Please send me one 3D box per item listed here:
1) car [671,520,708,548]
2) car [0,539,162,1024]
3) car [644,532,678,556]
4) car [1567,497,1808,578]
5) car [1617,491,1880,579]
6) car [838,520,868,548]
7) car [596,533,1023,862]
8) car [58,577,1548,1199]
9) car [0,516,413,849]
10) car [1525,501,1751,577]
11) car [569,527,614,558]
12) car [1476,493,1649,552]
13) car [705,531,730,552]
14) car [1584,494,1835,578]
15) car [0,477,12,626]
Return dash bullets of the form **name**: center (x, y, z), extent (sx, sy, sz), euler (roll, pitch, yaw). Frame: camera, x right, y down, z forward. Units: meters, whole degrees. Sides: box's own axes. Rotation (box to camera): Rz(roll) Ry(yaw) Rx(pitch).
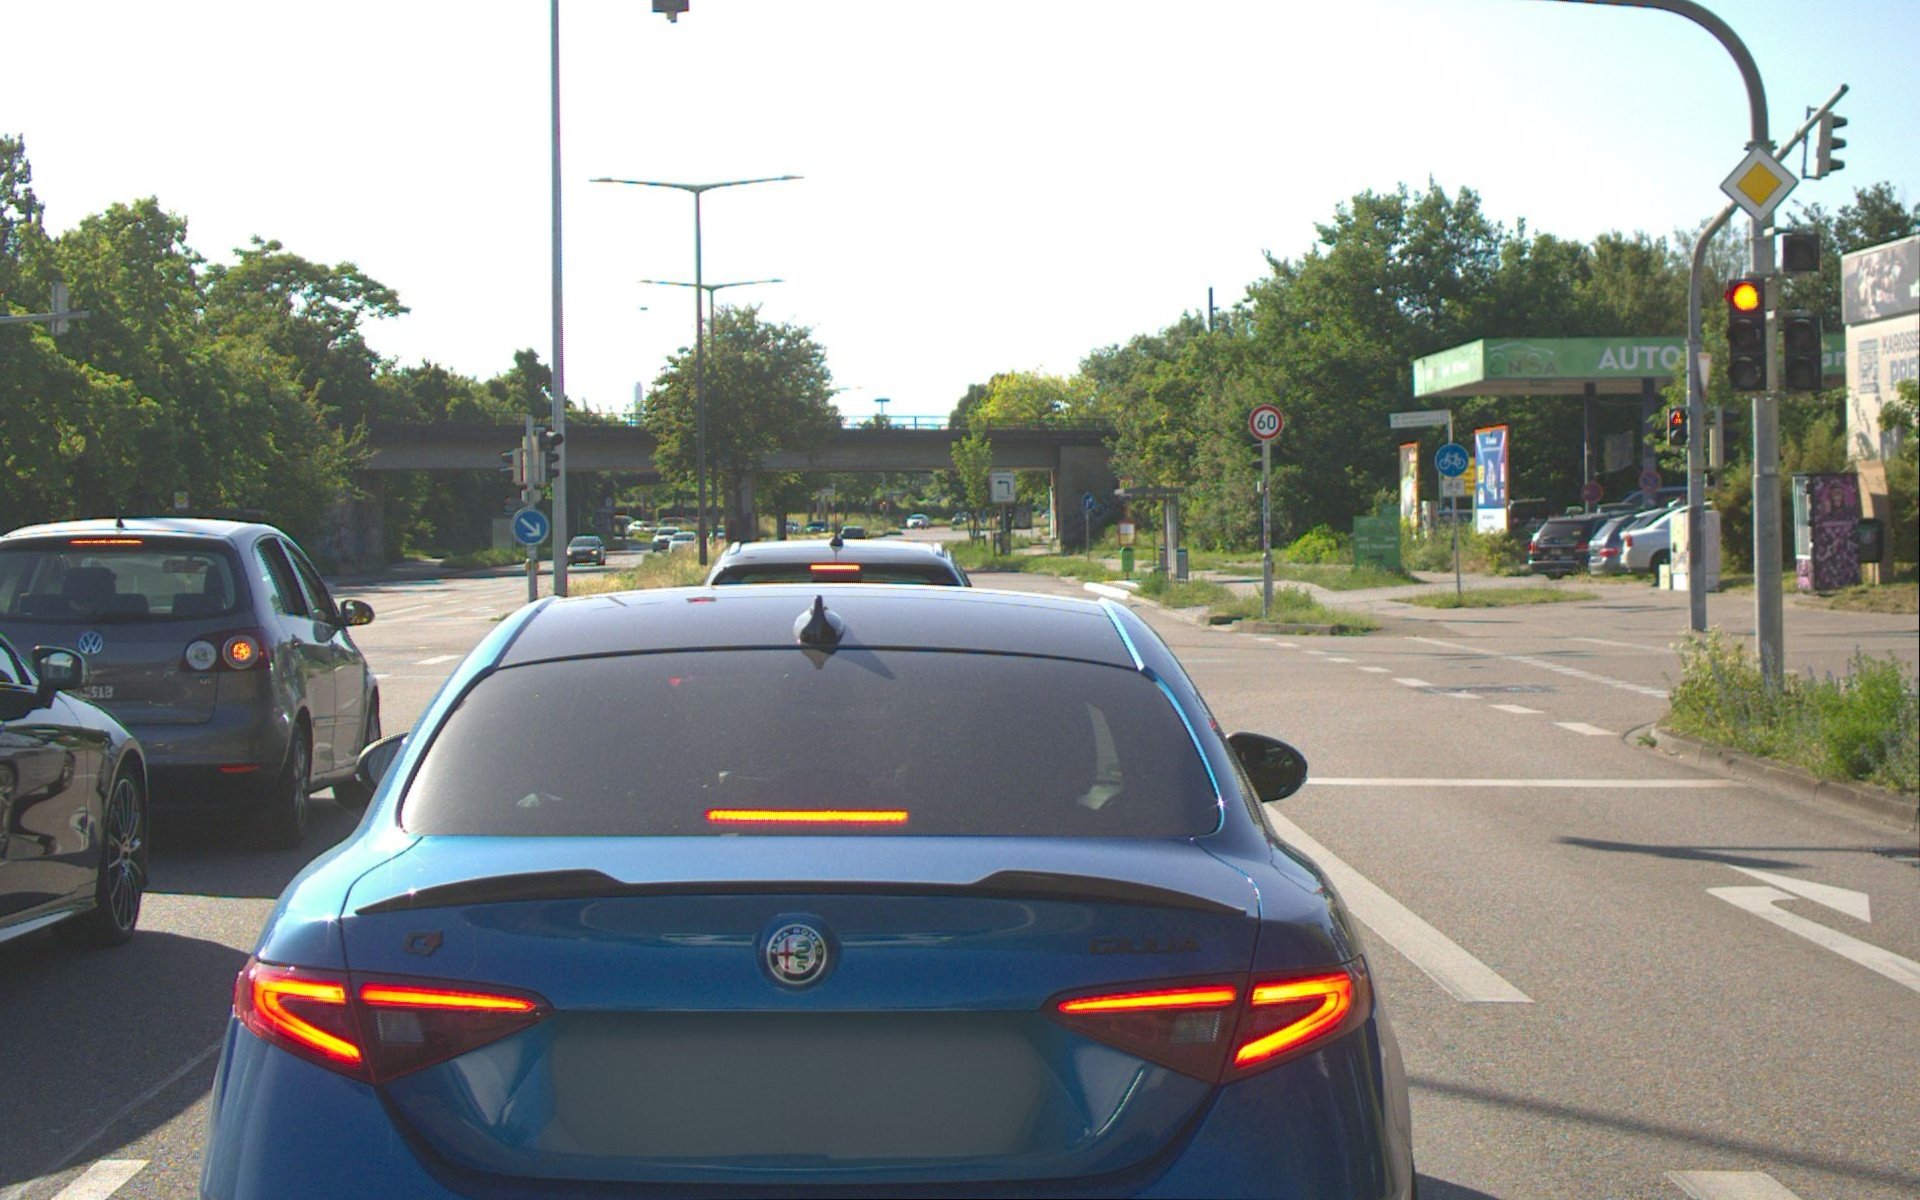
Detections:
- **car**: center (-15.202, -3.730, 193.573), extent (1.759, 1.485, 3.837), euler (-2, 1, 0)
- **car**: center (-3.832, 0.542, 10.613), extent (1.796, 1.485, 4.476), euler (1, 1, -2)
- **car**: center (-19.394, -3.655, 223.108), extent (1.759, 1.485, 4.478), euler (-2, 1, 0)
- **car**: center (14.808, -1.266, 70.100), extent (4.489, 1.449, 1.858), euler (-2, 1, 1)
- **car**: center (14.769, -1.211, 64.567), extent (4.489, 1.449, 1.858), euler (-2, 1, 1)
- **car**: center (-6.986, -4.298, 224.612), extent (1.891, 1.809, 4.000), euler (1, 1, -1)
- **car**: center (-0.721, 0.406, 17.236), extent (1.850, 1.413, 4.403), euler (1, 1, -2)
- **car**: center (-0.265, 0.682, 6.603), extent (1.895, 1.413, 4.403), euler (1, 1, -2)
- **car**: center (-3.997, 0.348, 17.712), extent (1.759, 1.485, 4.403), euler (1, 1, -2)
- **car**: center (14.588, -1.314, 74.150), extent (4.489, 1.449, 1.858), euler (-2, 1, 1)
- **car**: center (-18.729, -2.926, 174.902), extent (1.759, 1.485, 4.478), euler (-2, 1, 0)
- **car**: center (17.035, -2.196, 97.313), extent (4.551, 1.485, 1.765), euler (-2, 1, 1)
- **car**: center (-17.876, -4.313, 253.775), extent (1.615, 1.554, 3.358), euler (1, 1, -1)
- **car**: center (14.652, -1.249, 67.346), extent (4.489, 1.449, 1.858), euler (-2, 1, 1)
- **car**: center (-16.706, -0.700, 53.916), extent (2.022, 2.439, 5.822), euler (-4, 1, -1)
